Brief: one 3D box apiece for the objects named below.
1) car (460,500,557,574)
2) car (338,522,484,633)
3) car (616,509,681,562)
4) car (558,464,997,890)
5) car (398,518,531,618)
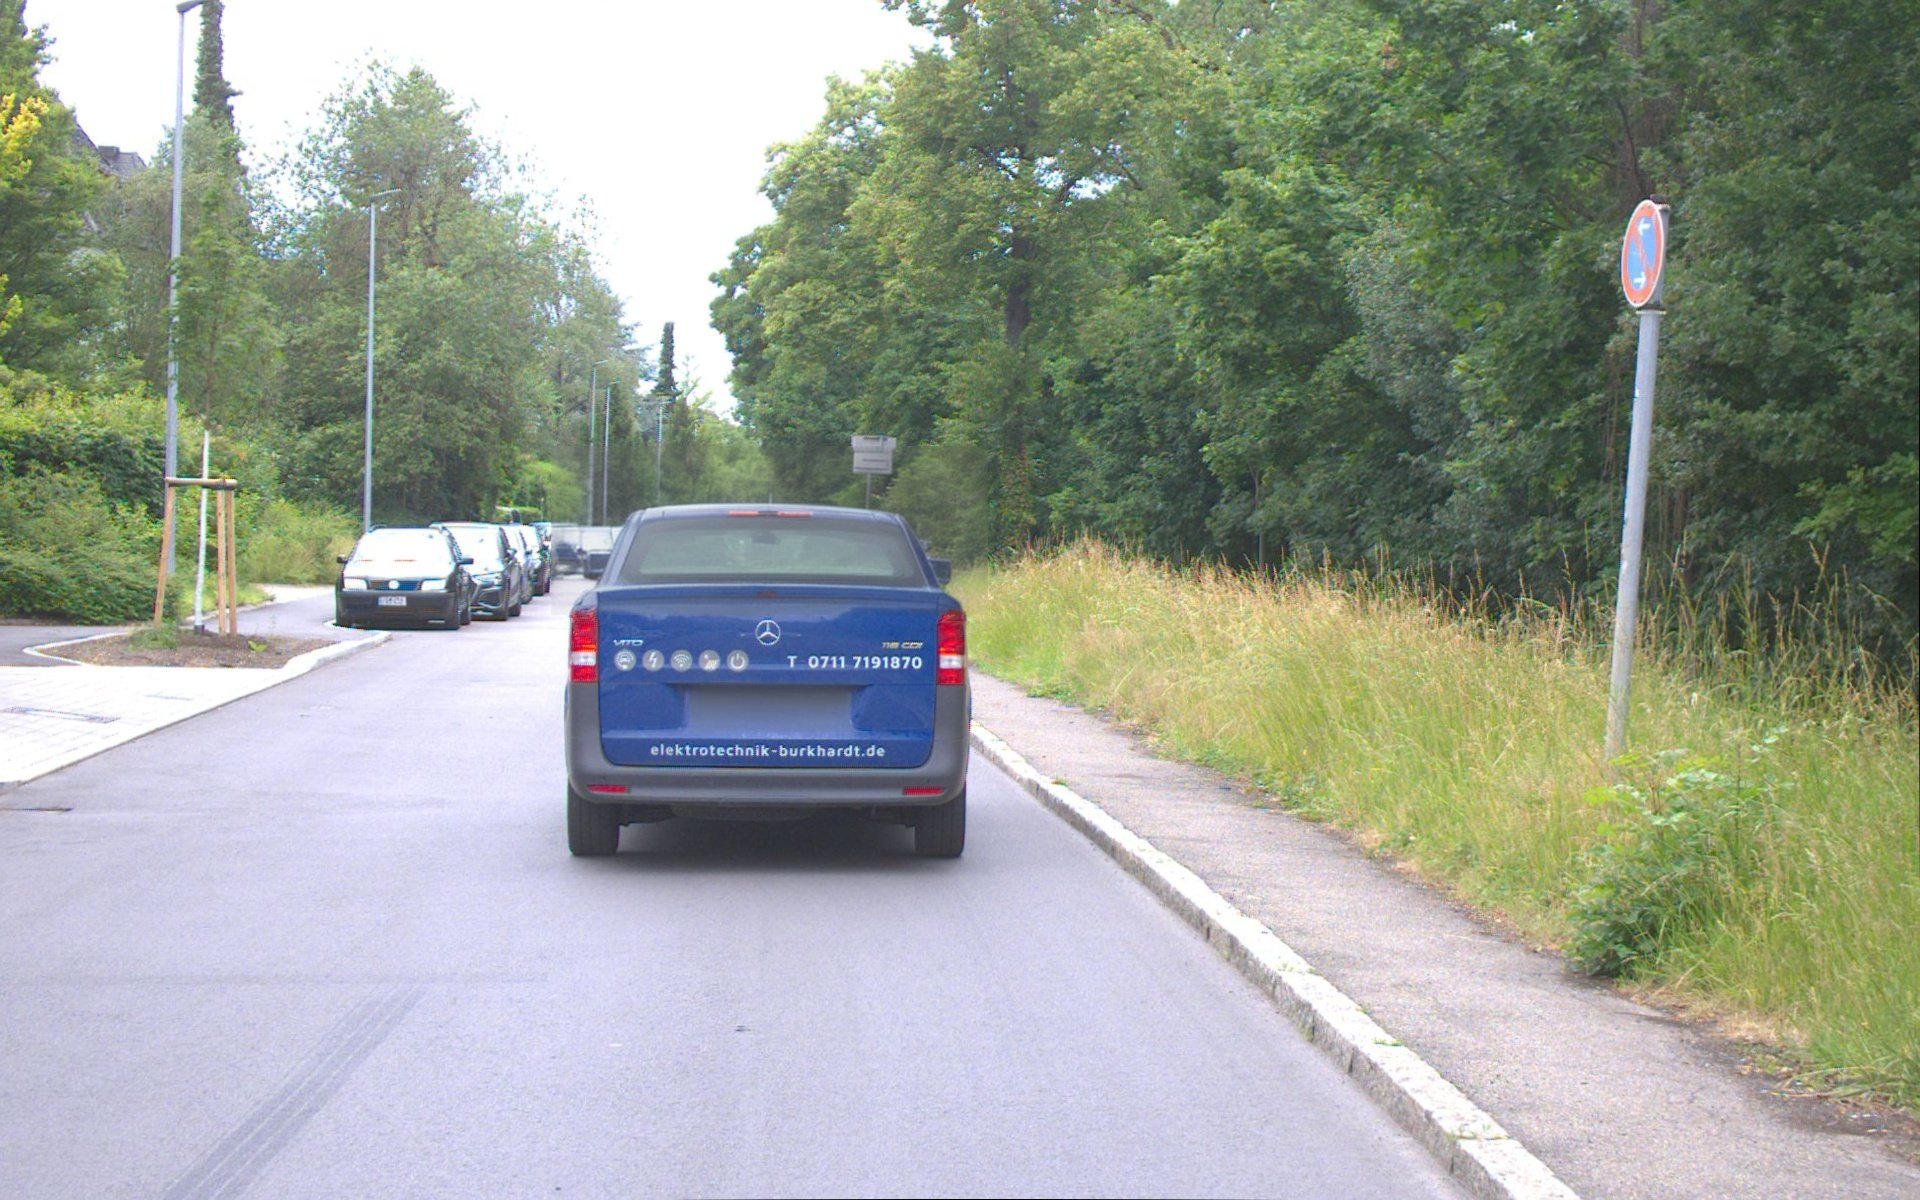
[{"bbox_3d":[-9.328,-1.337,71.305,1.778,1.427,5.107,1,2,-5],"label":"car"},{"bbox_3d":[-7.903,-0.358,49.791,1.682,1.477,4.694,0,2,-4],"label":"car"},{"bbox_3d":[-9.021,-1.879,99.577,1.780,1.421,4.491,1,2,-5],"label":"car"},{"bbox_3d":[-0.971,0.271,17.207,1.888,1.837,4.001,2,2,-5],"label":"car"},{"bbox_3d":[-7.850,-0.546,54.773,1.706,1.477,4.496,0,2,-3],"label":"car"}]
